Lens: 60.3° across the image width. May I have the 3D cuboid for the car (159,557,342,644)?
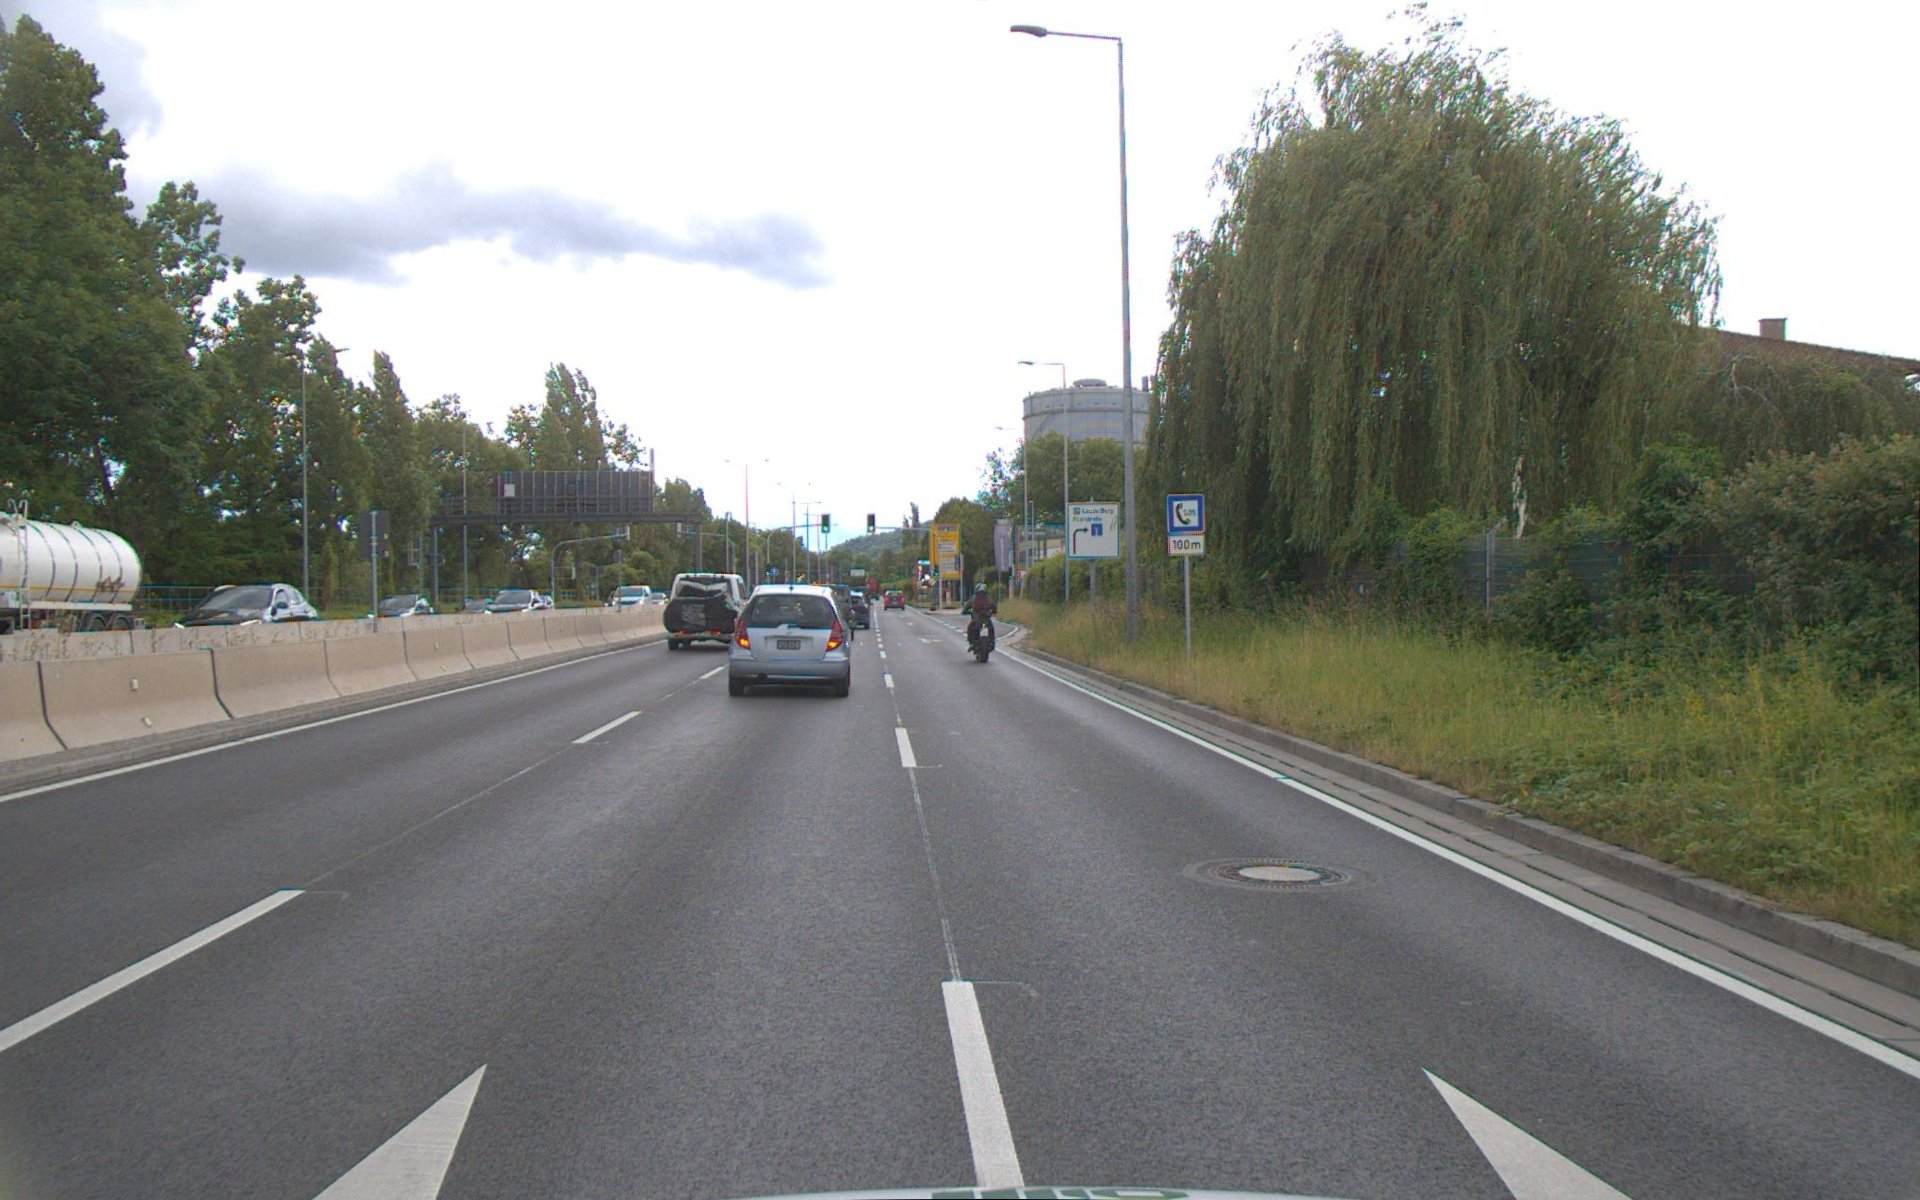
[{"bbox_3d":[-14.785,-0.011,34.776,1.954,1.646,4.695,2,1,-3],"label":"car"}]

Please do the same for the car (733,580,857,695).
[{"bbox_3d":[-2.422,0.503,25.059,1.676,1.556,3.997,2,1,-3],"label":"car"}]

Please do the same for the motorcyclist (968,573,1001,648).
[{"bbox_3d":[0.534,0.224,36.530,0.671,1.638,0.845,1,0,-1],"label":"motorcyclist"}]

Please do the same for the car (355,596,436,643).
[{"bbox_3d":[-23.237,0.780,68.228,1.954,1.769,4.301,2,1,-3],"label":"car"}]

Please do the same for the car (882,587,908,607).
[{"bbox_3d":[-5.267,-0.252,134.201,1.954,1.579,3.997,2,1,-4],"label":"car"}]

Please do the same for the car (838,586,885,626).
[{"bbox_3d":[-3.984,0.216,67.177,1.803,1.489,3.998,2,1,-3],"label":"car"}]

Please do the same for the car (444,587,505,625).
[{"bbox_3d":[-24.084,0.261,82.120,1.954,1.769,3.998,2,1,-3],"label":"car"}]

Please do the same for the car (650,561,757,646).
[{"bbox_3d":[-6.390,0.043,41.744,2.171,1.959,4.999,2,1,-4],"label":"car"}]

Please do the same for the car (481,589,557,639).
[{"bbox_3d":[-16.856,0.514,63.390,1.954,1.769,3.998,2,1,-3],"label":"car"}]

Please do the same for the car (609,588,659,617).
[{"bbox_3d":[-18.954,0.111,96.339,1.953,1.586,4.885,2,1,-1],"label":"car"}]

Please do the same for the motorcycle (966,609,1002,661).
[{"bbox_3d":[0.520,0.755,36.568,0.692,1.058,2.026,2,1,-1],"label":"motorcycle"}]

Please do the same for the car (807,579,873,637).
[{"bbox_3d":[-3.756,0.211,52.326,1.869,1.713,3.999,2,1,-2],"label":"car"}]

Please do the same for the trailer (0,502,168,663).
[{"bbox_3d":[-21.237,-0.427,36.018,3.039,3.276,11.659,2,1,-4],"label":"trailer"}]

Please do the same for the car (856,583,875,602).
[{"bbox_3d":[-10.360,-0.816,180.871,1.954,2.049,3.998,2,1,-3],"label":"car"}]
